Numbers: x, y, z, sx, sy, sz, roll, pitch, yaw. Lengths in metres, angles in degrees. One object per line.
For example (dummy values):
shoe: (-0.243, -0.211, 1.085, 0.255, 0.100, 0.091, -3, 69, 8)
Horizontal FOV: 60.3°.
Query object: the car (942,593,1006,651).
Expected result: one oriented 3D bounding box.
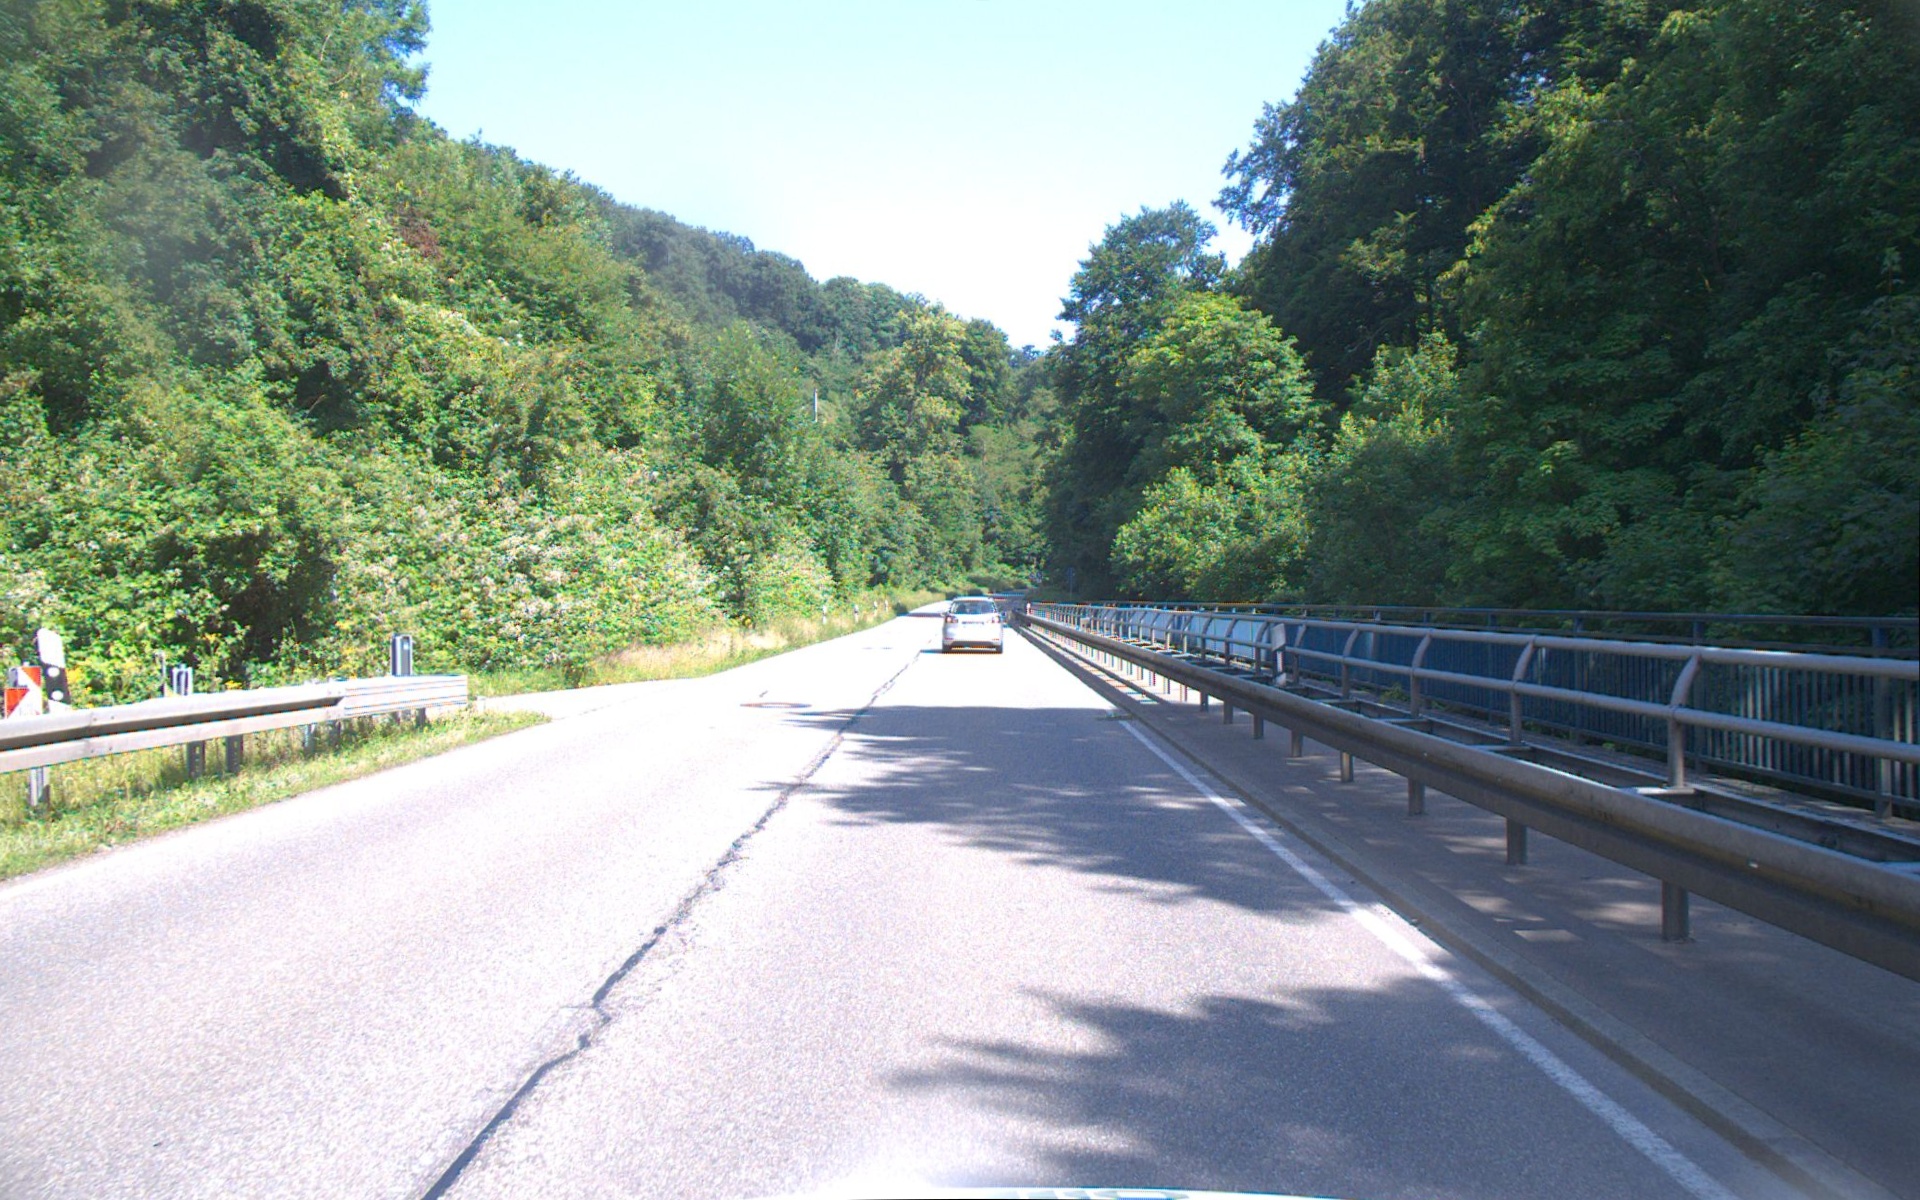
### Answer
car: (0.411, 0.583, 47.257, 1.715, 1.546, 4.159, 1, 0, 1)
